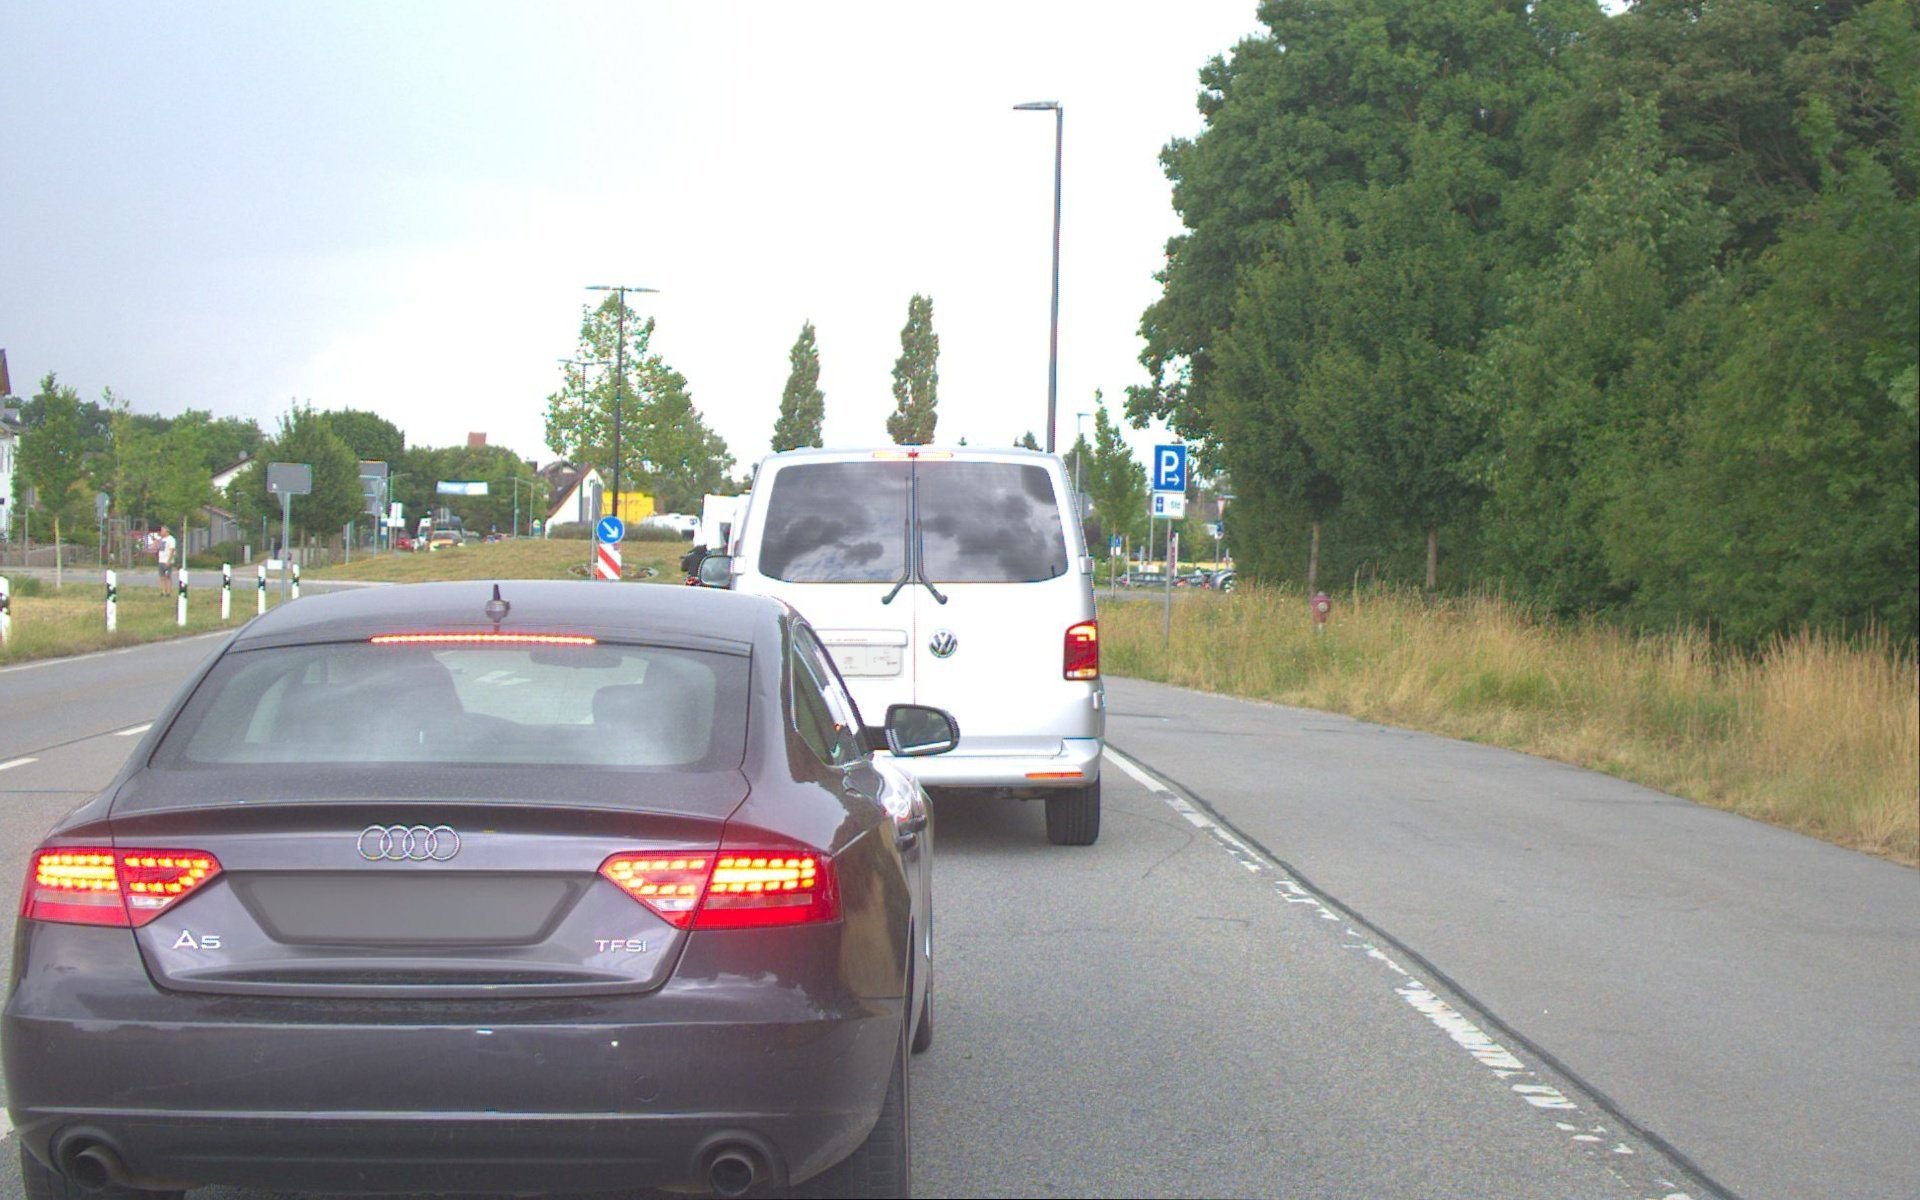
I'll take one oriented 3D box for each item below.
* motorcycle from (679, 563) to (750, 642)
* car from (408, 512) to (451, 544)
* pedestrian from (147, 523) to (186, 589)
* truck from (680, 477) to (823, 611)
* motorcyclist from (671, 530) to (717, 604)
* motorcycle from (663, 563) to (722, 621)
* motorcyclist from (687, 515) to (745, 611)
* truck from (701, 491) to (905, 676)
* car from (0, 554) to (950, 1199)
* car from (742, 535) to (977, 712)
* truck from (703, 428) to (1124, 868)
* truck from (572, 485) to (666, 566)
[{"bbox_3d":[-3.586,0.024,50.402,0.920,1.090,2.189,2,1,-2],"label":"motorcycle"},{"bbox_3d":[-28.414,-3.837,184.281,1.993,1.636,4.001,2,1,-5],"label":"car"},{"bbox_3d":[-19.350,-1.081,83.851,0.656,1.580,0.703,1,1,-41],"label":"pedestrian"},{"bbox_3d":[-4.617,-1.224,75.185,2.625,2.728,5.869,2,1,-8],"label":"truck"},{"bbox_3d":[-4.938,-0.616,63.755,0.785,1.352,0.854,1,1,-2],"label":"motorcyclist"},{"bbox_3d":[-4.960,-0.160,63.874,0.944,1.016,2.284,1,1,-1],"label":"motorcycle"},{"bbox_3d":[-3.564,-0.541,50.297,0.772,1.379,0.820,2,1,-1],"label":"motorcyclist"},{"bbox_3d":[-1.777,-0.216,40.655,2.193,2.007,5.085,1,1,-1],"label":"truck"},{"bbox_3d":[-0.999,0.632,8.238,1.875,1.449,4.177,1,1,1],"label":"car"},{"bbox_3d":[-0.918,0.177,31.552,1.993,1.480,4.000,1,1,-2],"label":"car"},{"bbox_3d":[-0.243,0.179,18.193,1.904,1.991,4.629,1,1,-1],"label":"truck"},{"bbox_3d":[-16.133,-3.529,161.883,3.575,3.566,9.959,2,1,-10],"label":"truck"}]
